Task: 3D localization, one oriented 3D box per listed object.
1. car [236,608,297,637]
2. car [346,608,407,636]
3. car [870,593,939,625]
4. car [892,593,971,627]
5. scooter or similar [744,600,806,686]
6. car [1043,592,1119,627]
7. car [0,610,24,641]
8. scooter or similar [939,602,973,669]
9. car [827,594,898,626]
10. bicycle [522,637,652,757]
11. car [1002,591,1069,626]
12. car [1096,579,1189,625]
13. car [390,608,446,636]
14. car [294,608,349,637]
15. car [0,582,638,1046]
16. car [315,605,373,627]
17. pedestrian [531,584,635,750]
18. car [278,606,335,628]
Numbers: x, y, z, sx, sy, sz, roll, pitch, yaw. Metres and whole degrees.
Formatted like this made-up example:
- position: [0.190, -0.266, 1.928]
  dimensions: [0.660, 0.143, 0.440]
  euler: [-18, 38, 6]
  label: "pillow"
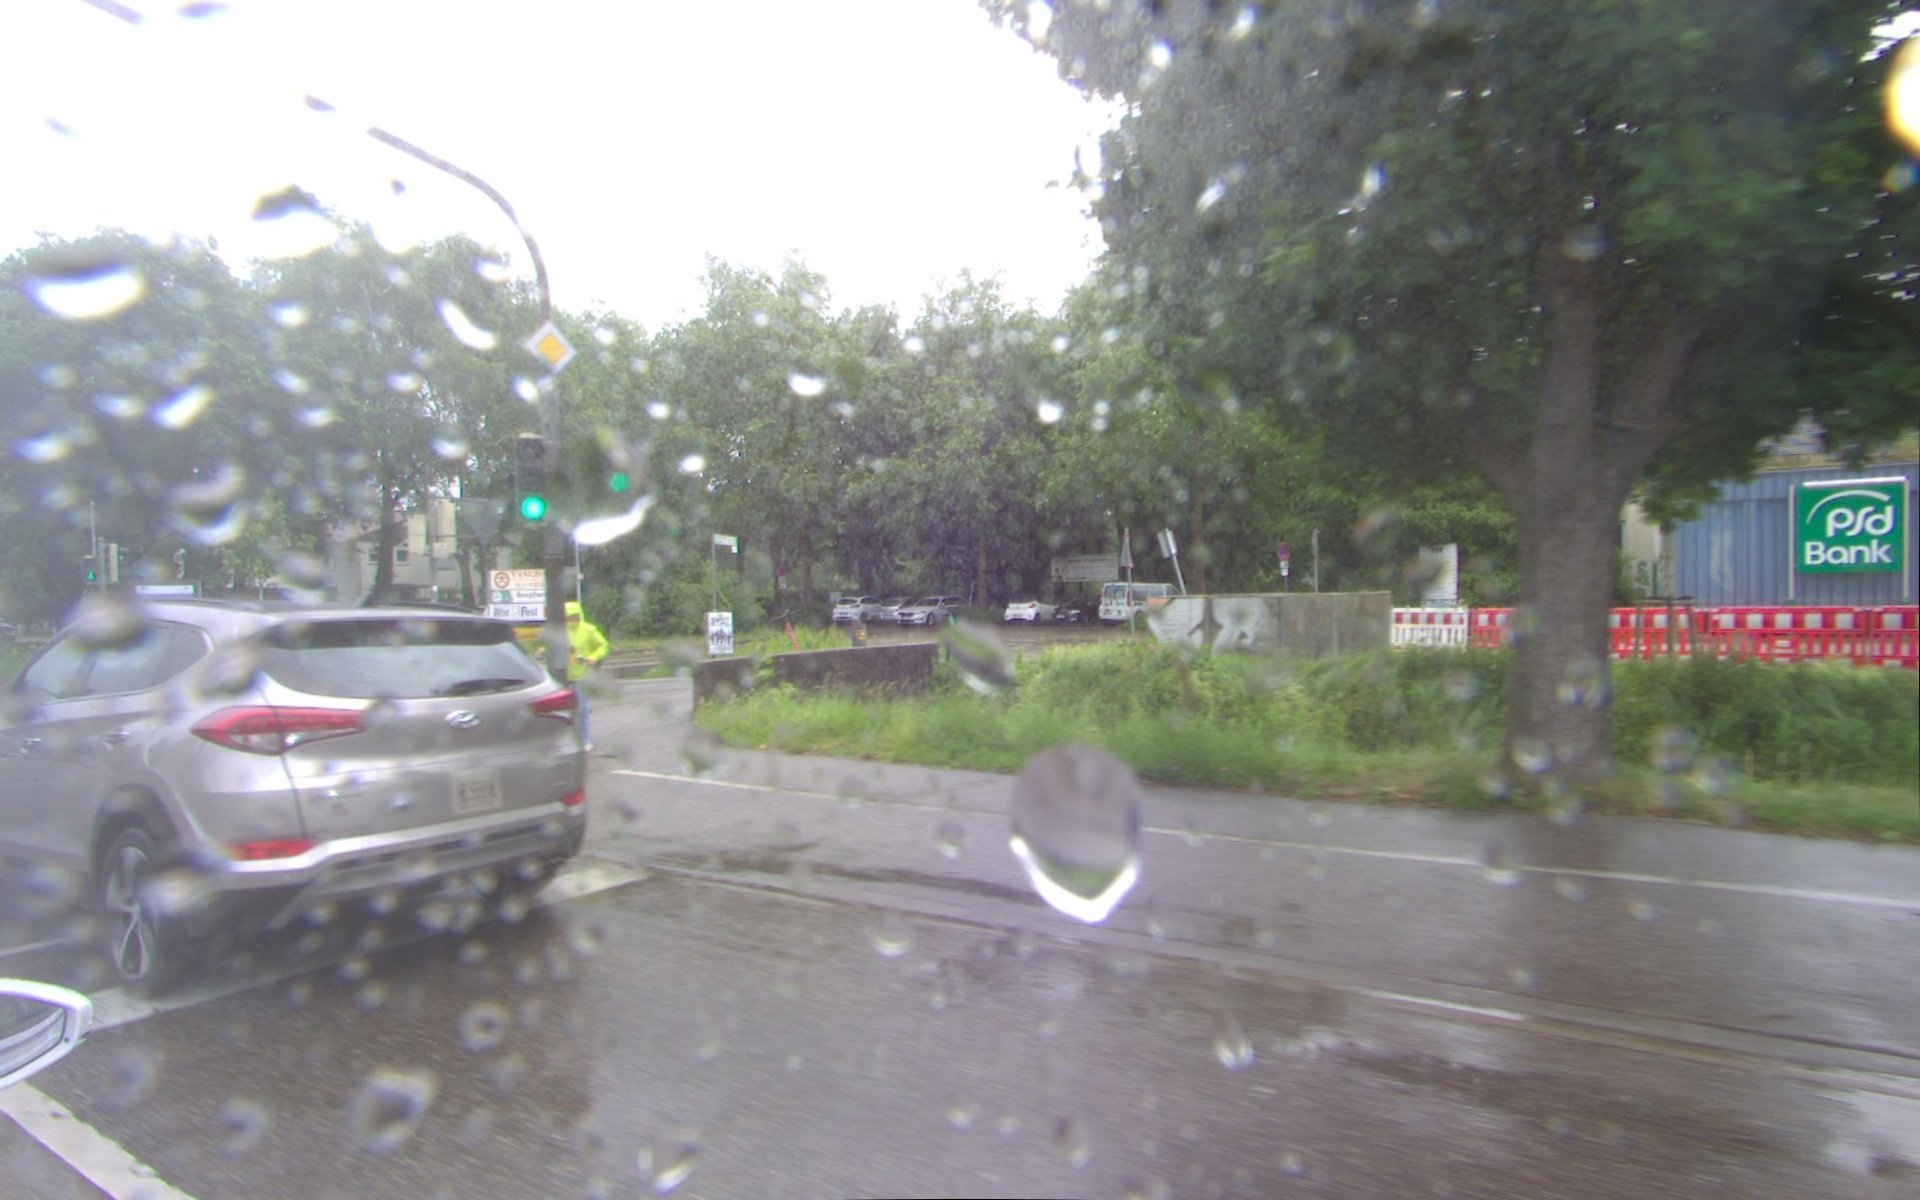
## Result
- position: [-36.222, 1.203, 52.398]
  dimensions: [1.641, 1.467, 3.745]
  euler: [0, -2, -19]
  label: "car"
- position: [-31.294, 1.201, 53.773]
  dimensions: [1.638, 1.467, 3.751]
  euler: [0, -2, -10]
  label: "car"
- position: [-2.927, 0.523, 53.849]
  dimensions: [1.894, 1.603, 4.589]
  euler: [-1, -2, 23]
  label: "car"
- position: [-1.397, 0.570, 51.468]
  dimensions: [1.898, 1.651, 4.579]
  euler: [-1, -2, 31]
  label: "car"
- position: [-2.812, 0.638, 15.252]
  dimensions: [0.317, 1.246, 0.954]
  euler: [0, 1, 36]
  label: "scooter or similar"
- position: [5.765, 0.487, 47.287]
  dimensions: [1.900, 1.508, 4.171]
  euler: [-2, -2, 34]
  label: "car"
- position: [-56.988, 1.538, 58.534]
  dimensions: [4.806, 1.740, 1.990]
  euler: [-2, 1, 30]
  label: "car"
- position: [-0.072, 0.630, 18.081]
  dimensions: [0.553, 1.192, 0.284]
  euler: [0, 1, 39]
  label: "scooter or similar"
- position: [-5.327, 0.589, 55.151]
  dimensions: [1.894, 1.603, 4.589]
  euler: [-1, -2, 23]
  label: "car"
- position: [-4.090, 1.035, 11.140]
  dimensions: [0.774, 1.053, 1.663]
  euler: [-3, 3, -1]
  label: "bicycle"
- position: [3.718, 0.467, 48.887]
  dimensions: [1.697, 1.617, 3.648]
  euler: [-2, -2, 34]
  label: "car"
- position: [8.416, 0.145, 45.995]
  dimensions: [4.145, 1.990, 1.912]
  euler: [1, -2, -37]
  label: "car"
- position: [-29.386, 1.203, 54.402]
  dimensions: [1.573, 1.467, 3.751]
  euler: [0, -2, -10]
  label: "car"
- position: [-34.020, 1.217, 53.455]
  dimensions: [1.641, 1.467, 3.745]
  euler: [0, -2, -19]
  label: "car"
- position: [-3.889, 0.806, 5.440]
  dimensions: [4.136, 1.631, 1.881]
  euler: [-1, -1, 32]
  label: "car"
- position: [-40.686, 1.086, 66.176]
  dimensions: [3.940, 1.403, 1.582]
  euler: [-2, -2, 30]
  label: "car"
- position: [-4.098, 0.710, 10.943]
  dimensions: [0.774, 1.702, 0.668]
  euler: [-3, 4, -1]
  label: "pedestrian"
- position: [-41.823, 1.097, 64.101]
  dimensions: [3.646, 1.333, 1.571]
  euler: [-2, -1, 29]
  label: "car"
